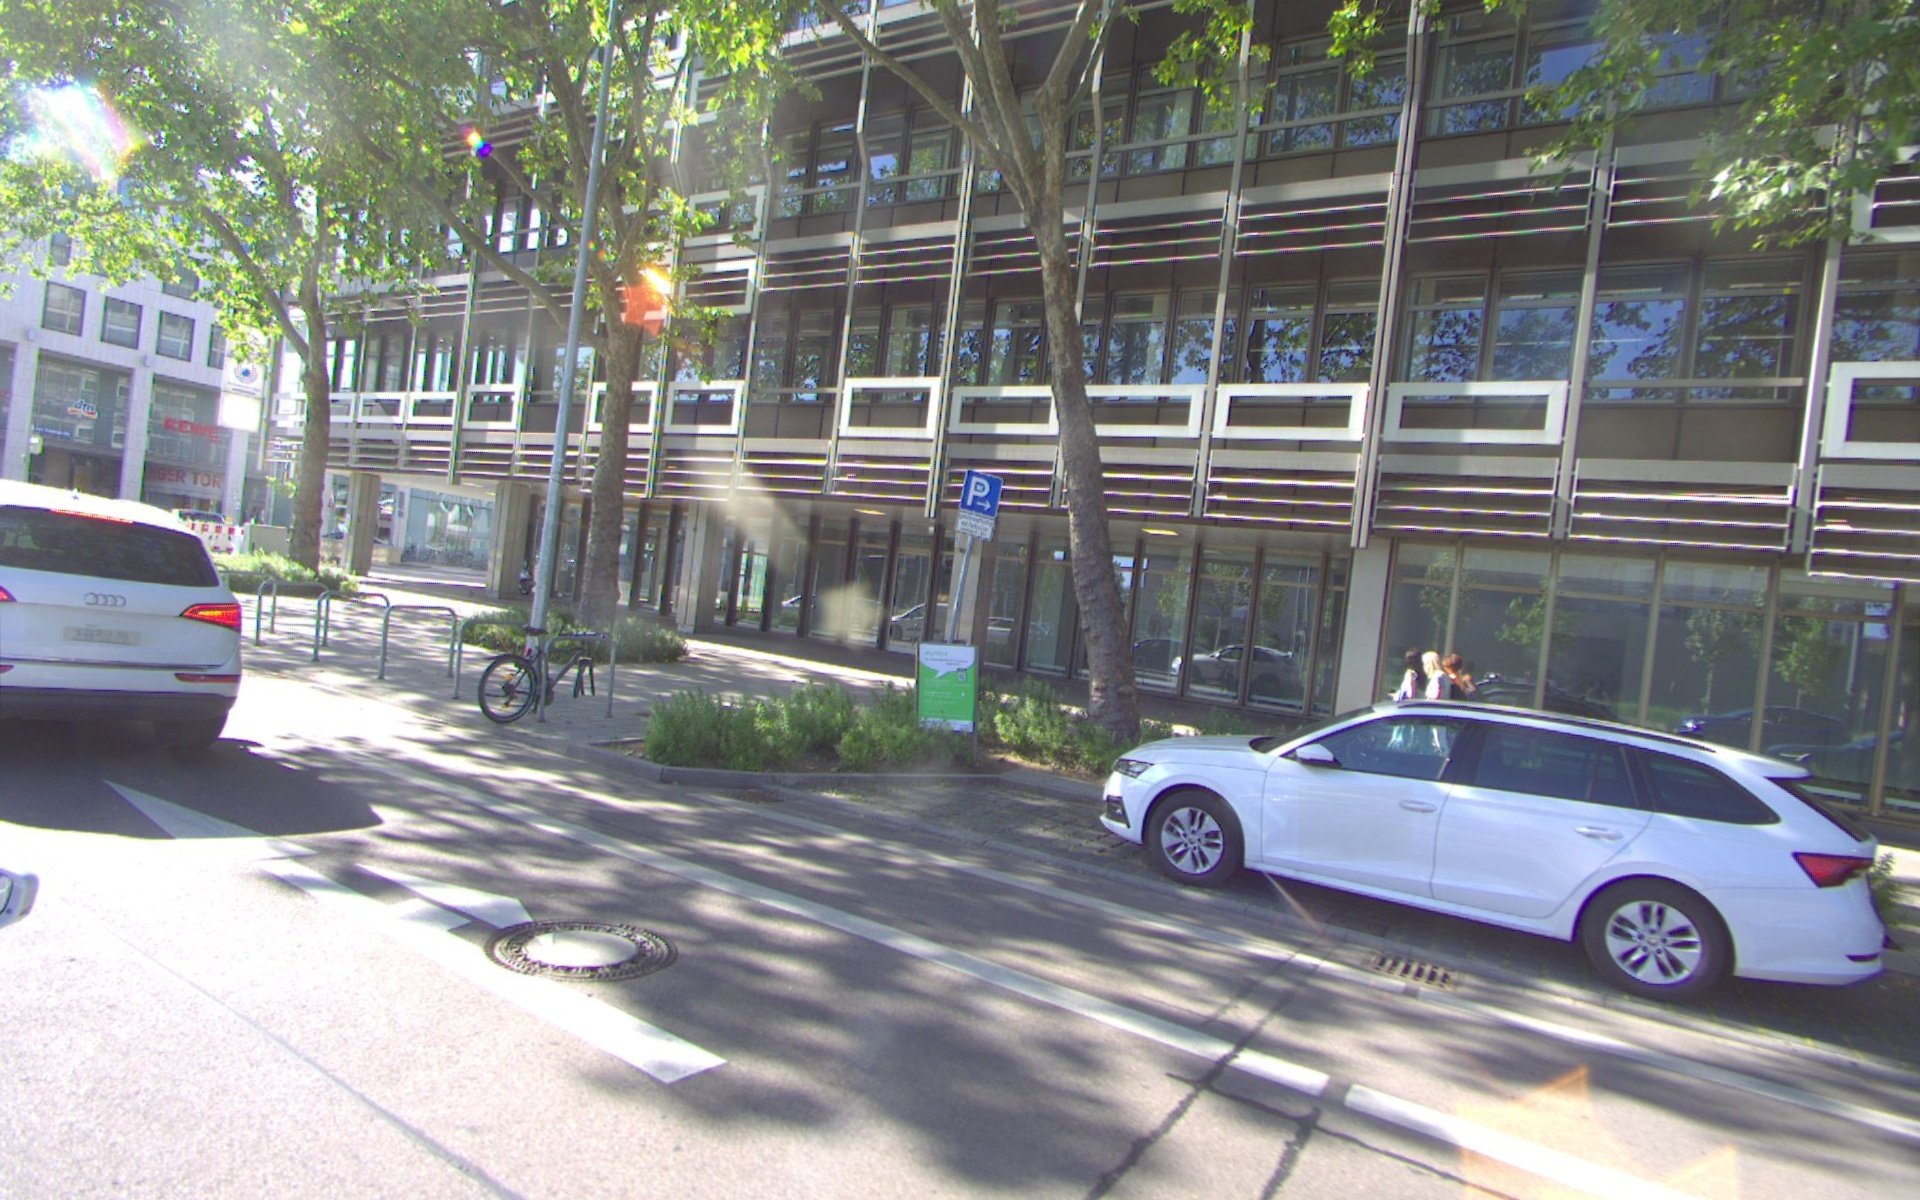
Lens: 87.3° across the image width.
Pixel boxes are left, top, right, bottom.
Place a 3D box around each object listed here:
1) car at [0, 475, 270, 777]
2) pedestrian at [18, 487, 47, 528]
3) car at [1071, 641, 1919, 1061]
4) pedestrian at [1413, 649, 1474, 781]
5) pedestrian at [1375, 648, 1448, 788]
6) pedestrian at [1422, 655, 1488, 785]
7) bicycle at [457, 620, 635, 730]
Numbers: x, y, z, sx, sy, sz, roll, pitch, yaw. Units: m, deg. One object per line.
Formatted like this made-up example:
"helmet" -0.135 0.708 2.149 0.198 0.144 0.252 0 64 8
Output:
"car" -6.701 -0.030 6.872 4.118 1.637 1.723 7 0 33
"pedestrian" -35.558 -3.544 38.561 0.622 1.457 0.562 6 -2 38
"car" 3.248 1.359 6.890 4.524 1.511 1.706 7 0 32
"pedestrian" 6.176 1.456 12.866 0.492 1.604 0.316 7 1 23
"pedestrian" 5.543 1.430 12.386 0.623 1.604 0.507 7 1 23
"pedestrian" 6.592 1.582 13.397 0.563 1.622 0.554 7 0 32
"bicycle" -4.141 0.738 10.199 0.470 0.969 1.696 7 1 27
